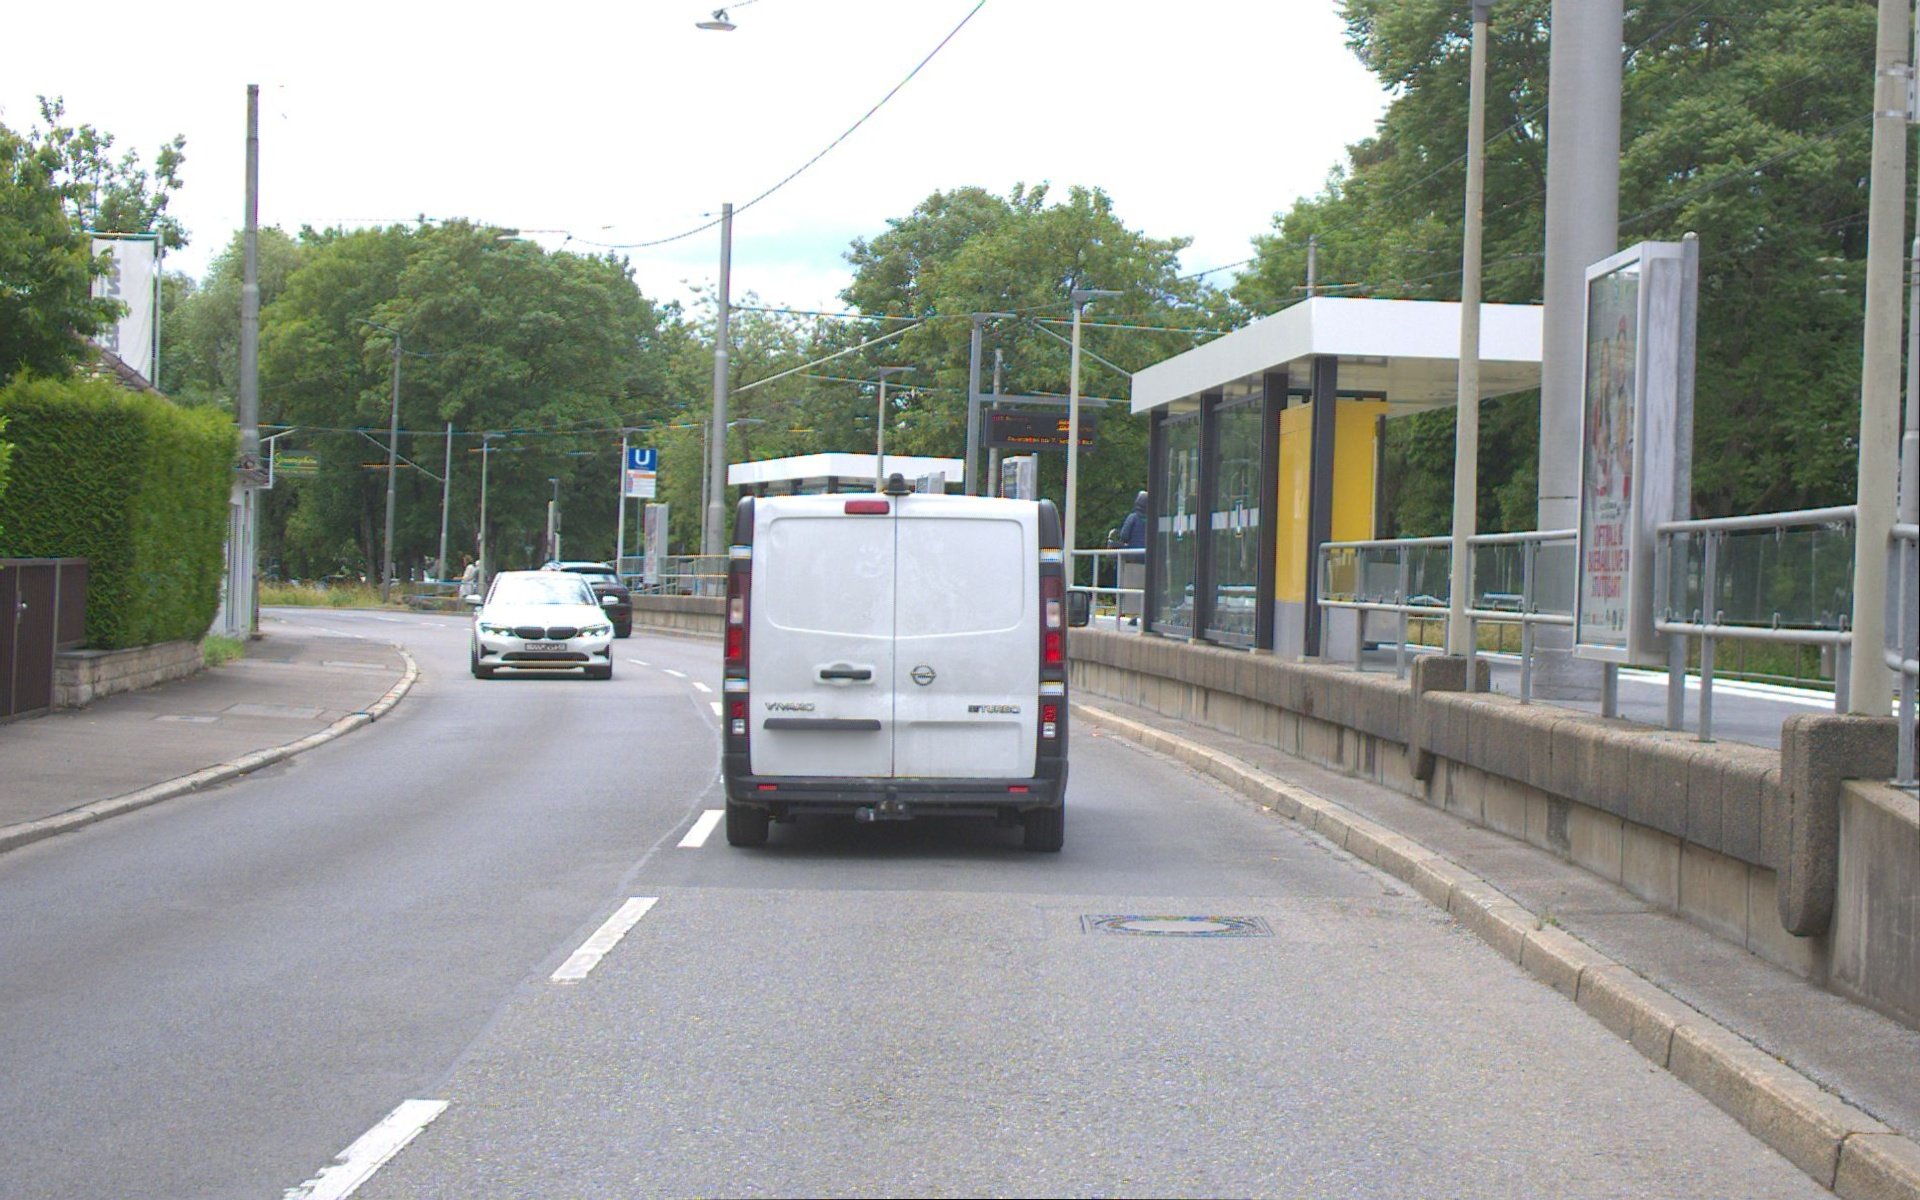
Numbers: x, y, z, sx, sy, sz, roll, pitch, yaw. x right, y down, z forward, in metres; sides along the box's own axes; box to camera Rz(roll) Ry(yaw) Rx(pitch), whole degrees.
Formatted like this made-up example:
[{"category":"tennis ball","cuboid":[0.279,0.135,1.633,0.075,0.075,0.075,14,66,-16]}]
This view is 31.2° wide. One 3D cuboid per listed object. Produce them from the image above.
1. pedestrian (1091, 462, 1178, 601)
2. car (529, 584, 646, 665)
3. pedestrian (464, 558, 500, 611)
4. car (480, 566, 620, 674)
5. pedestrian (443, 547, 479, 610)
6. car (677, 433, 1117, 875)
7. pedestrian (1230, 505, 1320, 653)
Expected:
[{"category":"pedestrian","cuboid":[2.158,-0.841,42.611,0.885,1.665,0.910,2,0,-5]},{"category":"car","cuboid":[-8.070,0.507,74.237,2.355,1.559,4.373,4,0,-7]},{"category":"pedestrian","cuboid":[-13.646,-0.438,98.145,0.758,1.487,0.630,2,0,-40]},{"category":"car","cuboid":[-5.598,0.244,47.245,1.818,1.414,4.464,0,0,-6]},{"category":"pedestrian","cuboid":[-14.441,-0.613,99.547,0.758,1.789,0.630,2,0,-40]},{"category":"car","cuboid":[-0.300,0.266,20.138,2.117,2.127,5.440,3,0,0]},{"category":"pedestrian","cuboid":[2.826,-0.188,30.865,0.620,1.294,0.720,2,0,-7]}]
